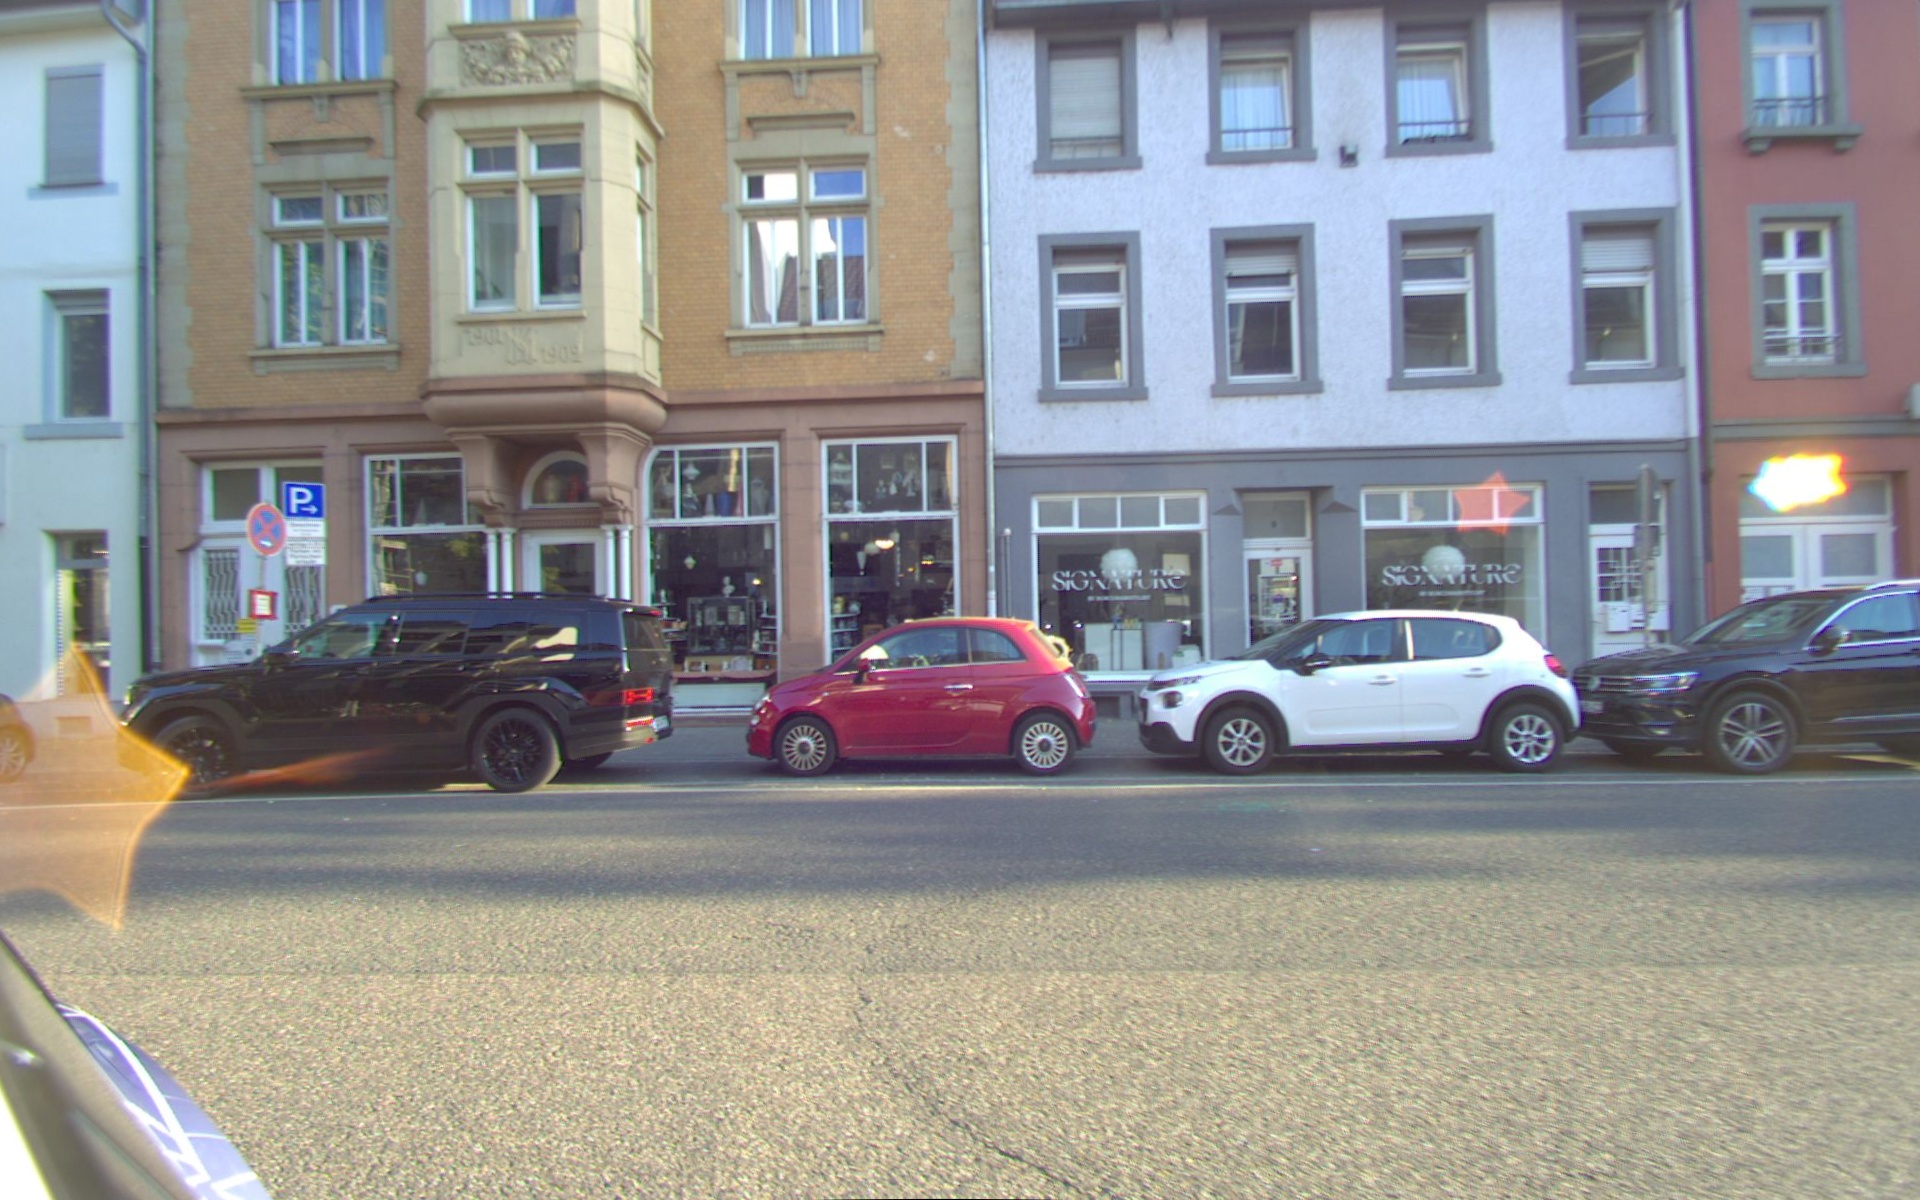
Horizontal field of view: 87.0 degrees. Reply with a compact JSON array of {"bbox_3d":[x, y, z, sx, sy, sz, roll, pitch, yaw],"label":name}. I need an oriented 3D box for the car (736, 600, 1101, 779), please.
[{"bbox_3d":[-0.366,0.871,10.137,3.378,1.582,1.528,-2,-3,4],"label":"car"}]

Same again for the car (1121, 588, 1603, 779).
[{"bbox_3d":[3.628,0.782,9.726,3.883,1.585,1.665,-2,-3,3],"label":"car"}]

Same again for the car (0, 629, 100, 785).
[{"bbox_3d":[-10.518,1.091,9.773,1.486,1.588,3.480,-1,-2,0],"label":"car"}]

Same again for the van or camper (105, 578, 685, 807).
[{"bbox_3d":[-5.031,0.812,9.541,4.395,1.821,1.897,-1,-2,-2],"label":"van or camper"}]

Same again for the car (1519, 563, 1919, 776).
[{"bbox_3d":[7.918,0.604,9.320,4.400,1.711,1.799,-2,-3,2],"label":"car"}]
